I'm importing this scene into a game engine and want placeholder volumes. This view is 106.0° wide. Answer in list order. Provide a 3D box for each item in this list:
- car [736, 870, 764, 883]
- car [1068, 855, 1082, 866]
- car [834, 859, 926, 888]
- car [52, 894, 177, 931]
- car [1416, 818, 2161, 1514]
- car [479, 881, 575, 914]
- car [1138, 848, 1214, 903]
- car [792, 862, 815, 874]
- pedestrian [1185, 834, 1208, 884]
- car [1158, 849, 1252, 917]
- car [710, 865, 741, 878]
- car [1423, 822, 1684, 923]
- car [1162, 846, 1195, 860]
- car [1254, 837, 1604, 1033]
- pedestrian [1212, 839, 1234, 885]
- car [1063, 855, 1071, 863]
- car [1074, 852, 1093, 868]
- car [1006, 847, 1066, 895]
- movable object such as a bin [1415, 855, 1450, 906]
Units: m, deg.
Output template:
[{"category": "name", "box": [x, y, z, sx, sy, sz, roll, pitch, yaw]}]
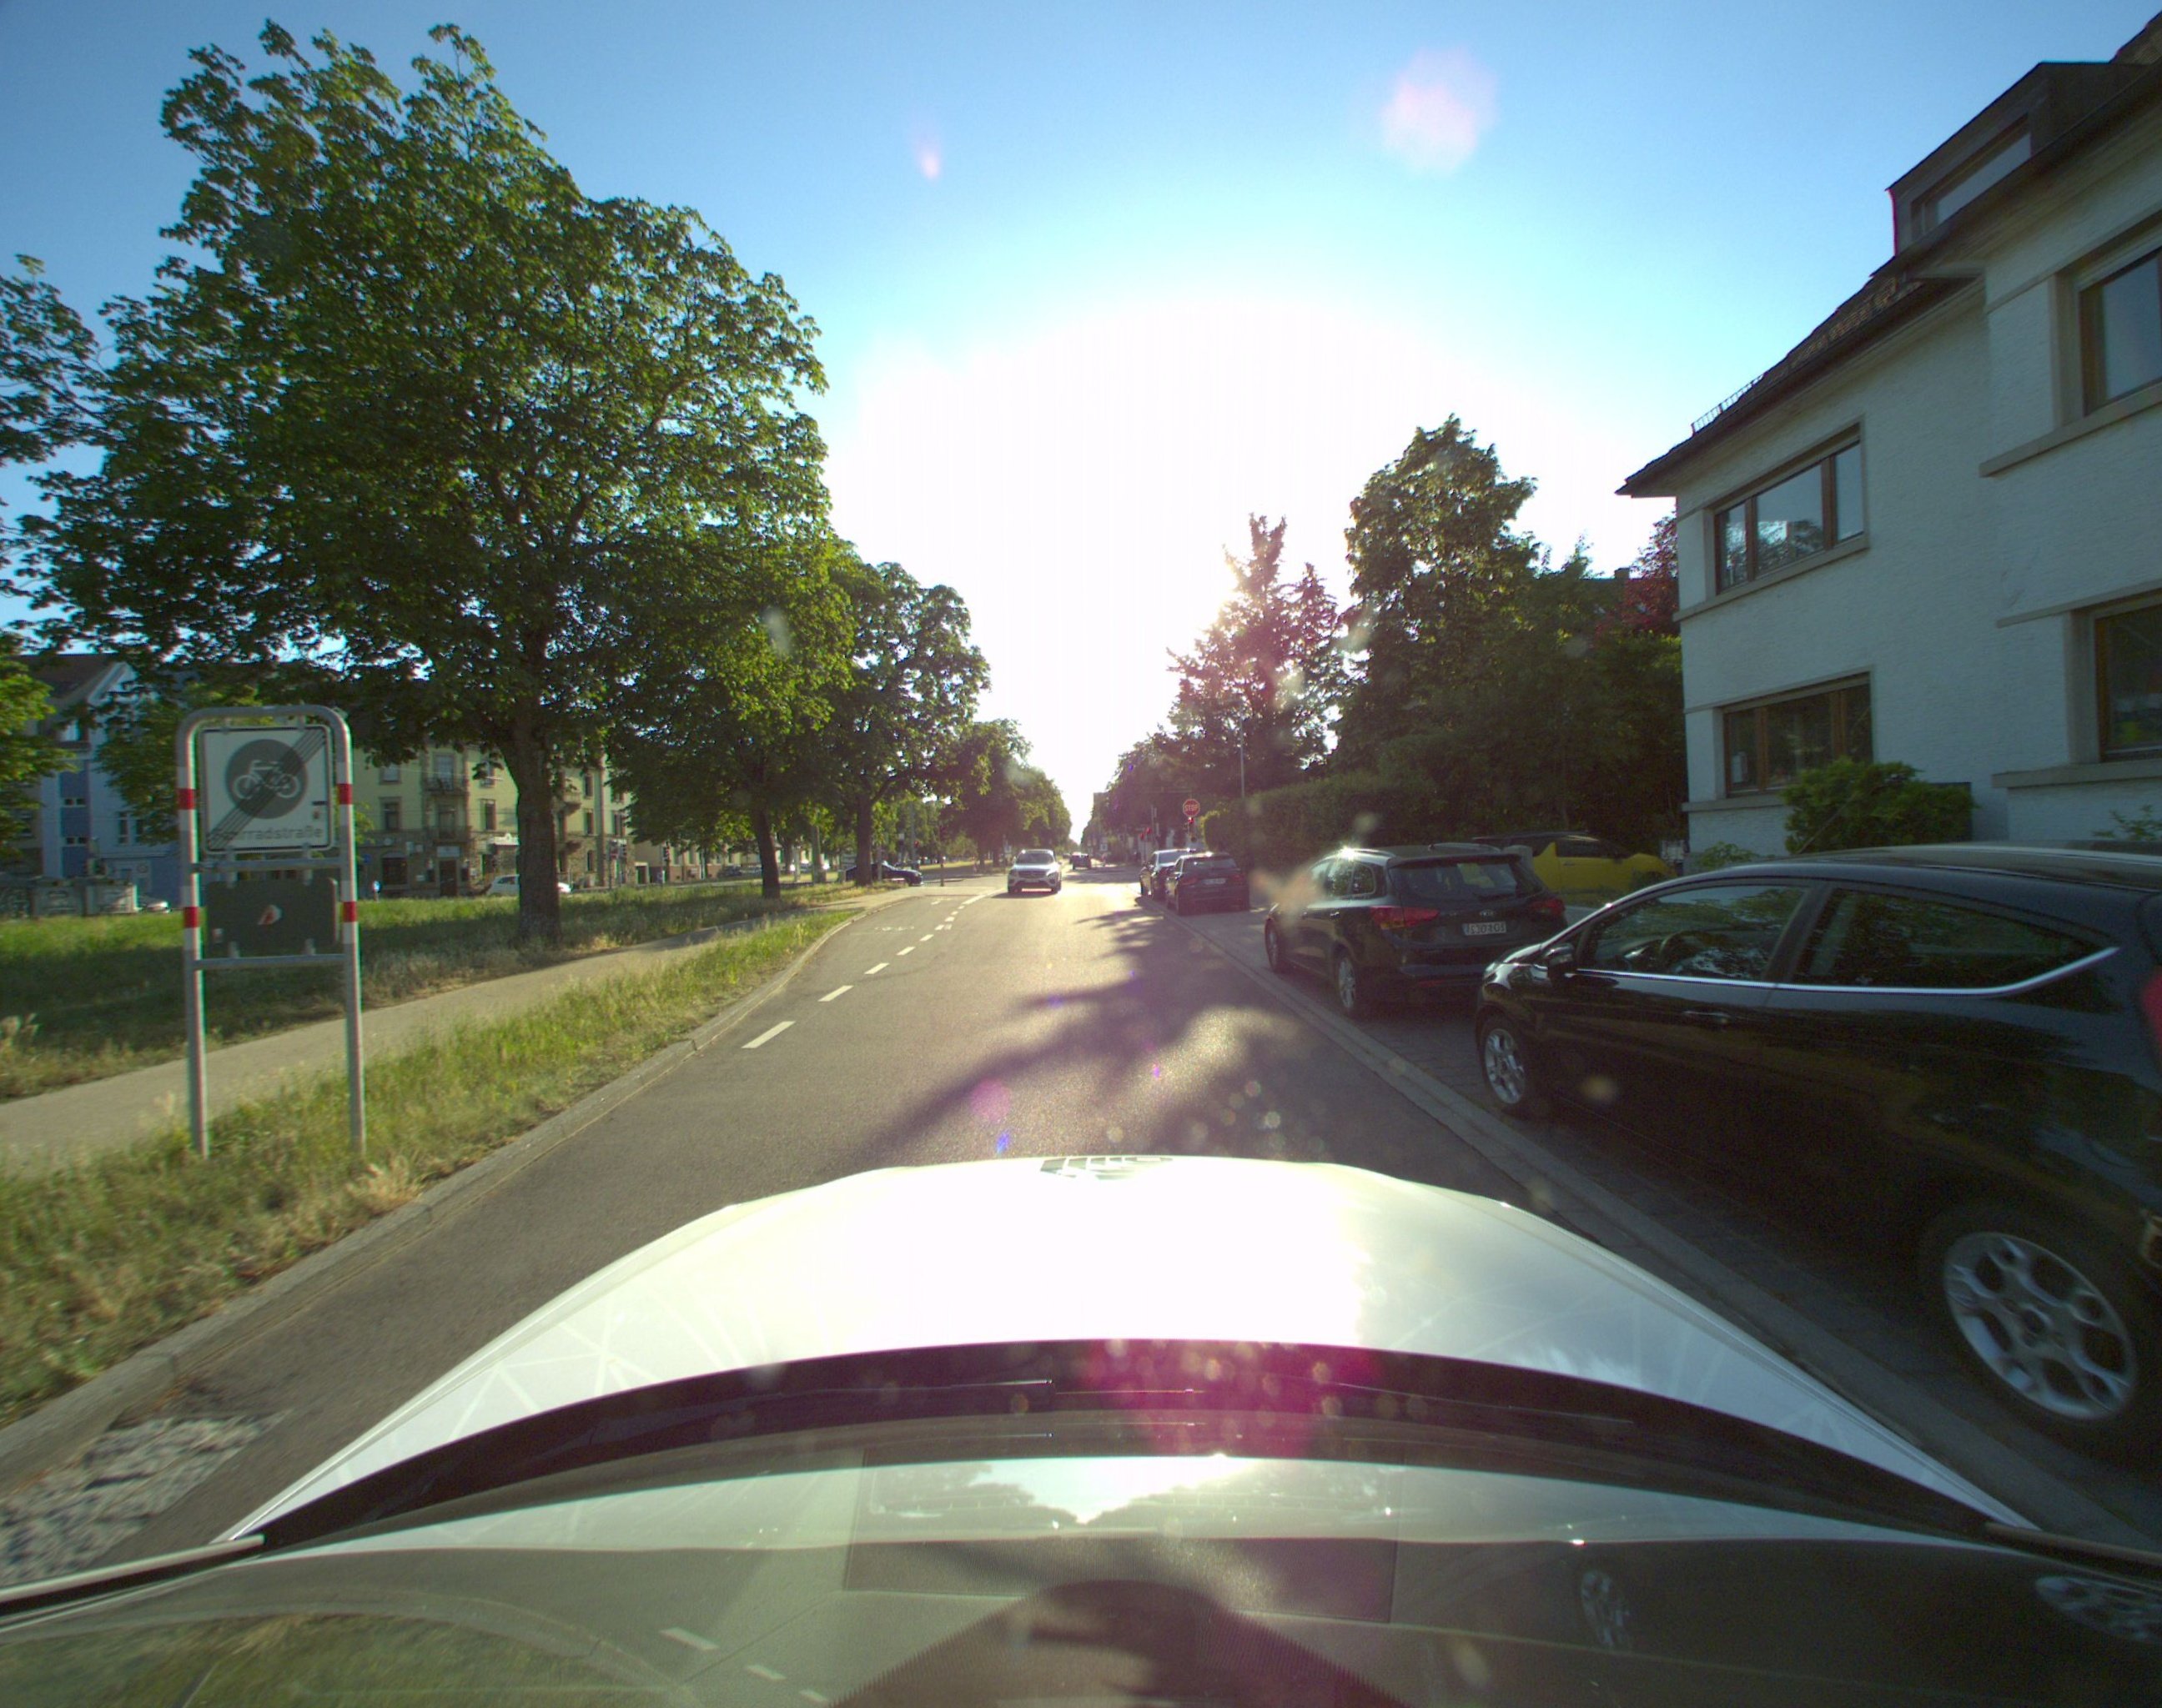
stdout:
[{"category": "car", "box": [-43.003, 2.881, 105.794, 1.729, 1.427, 3.799, -1, 1, 6]}, {"category": "car", "box": [-0.808, 0.823, 110.961, 1.839, 1.393, 3.829, -1, 0, 1]}, {"category": "car", "box": [-11.048, 1.053, 45.073, 4.767, 1.434, 1.807, -1, 0, -12]}, {"category": "car", "box": [-46.797, 2.805, 39.504, 3.600, 1.497, 1.605, -2, 0, -13]}, {"category": "car", "box": [3.175, 0.665, 3.482, 1.713, 1.471, 3.982, -4, 0, -1]}, {"category": "car", "box": [-28.836, 2.258, 42.483, 3.688, 1.488, 1.734, -1, 0, -12]}, {"category": "car", "box": [2.968, 0.629, 26.356, 1.853, 1.542, 4.872, -2, 0, 0]}, {"category": "car", "box": [-37.311, 1.847, 109.531, 1.732, 1.427, 3.792, -2, 0, 0]}, {"category": "pedestrian", "box": [4.338, 0.193, 30.752, 0.669, 1.865, 0.880, -1, 0, -3]}, {"category": "car", "box": [2.977, 0.648, 20.229, 1.636, 1.427, 3.935, -4, 0, 0]}, {"category": "car", "box": [-43.380, 2.107, 99.463, 1.729, 1.397, 3.799, -1, 1, 6]}, {"category": "car", "box": [8.373, 0.309, 14.677, 3.623, 1.496, 1.781, -4, 0, -1]}, {"category": "car", "box": [11.700, -0.157, 98.254, 3.768, 1.525, 1.743, -2, 1, -1]}, {"category": "car", "box": [3.168, 0.642, 8.474, 1.741, 1.474, 4.253, -1, 0, -1]}, {"category": "pedestrian", "box": [5.333, 0.291, 30.644, 0.667, 1.708, 0.622, -1, 0, -3]}, {"category": "car", "box": [-3.808, 1.299, 223.918, 2.127, 2.013, 3.902, -2, 0, 1]}, {"category": "car", "box": [0.218, 0.556, 76.985, 1.635, 1.451, 3.309, -1, 0, 2]}, {"category": "car", "box": [-1.673, 0.611, 31.737, 1.883, 1.676, 4.428, -2, 0, 2]}, {"category": "movable object such as a bin", "box": [7.258, 0.540, 16.825, 0.507, 1.043, 0.416, -1, 0, -6]}]
